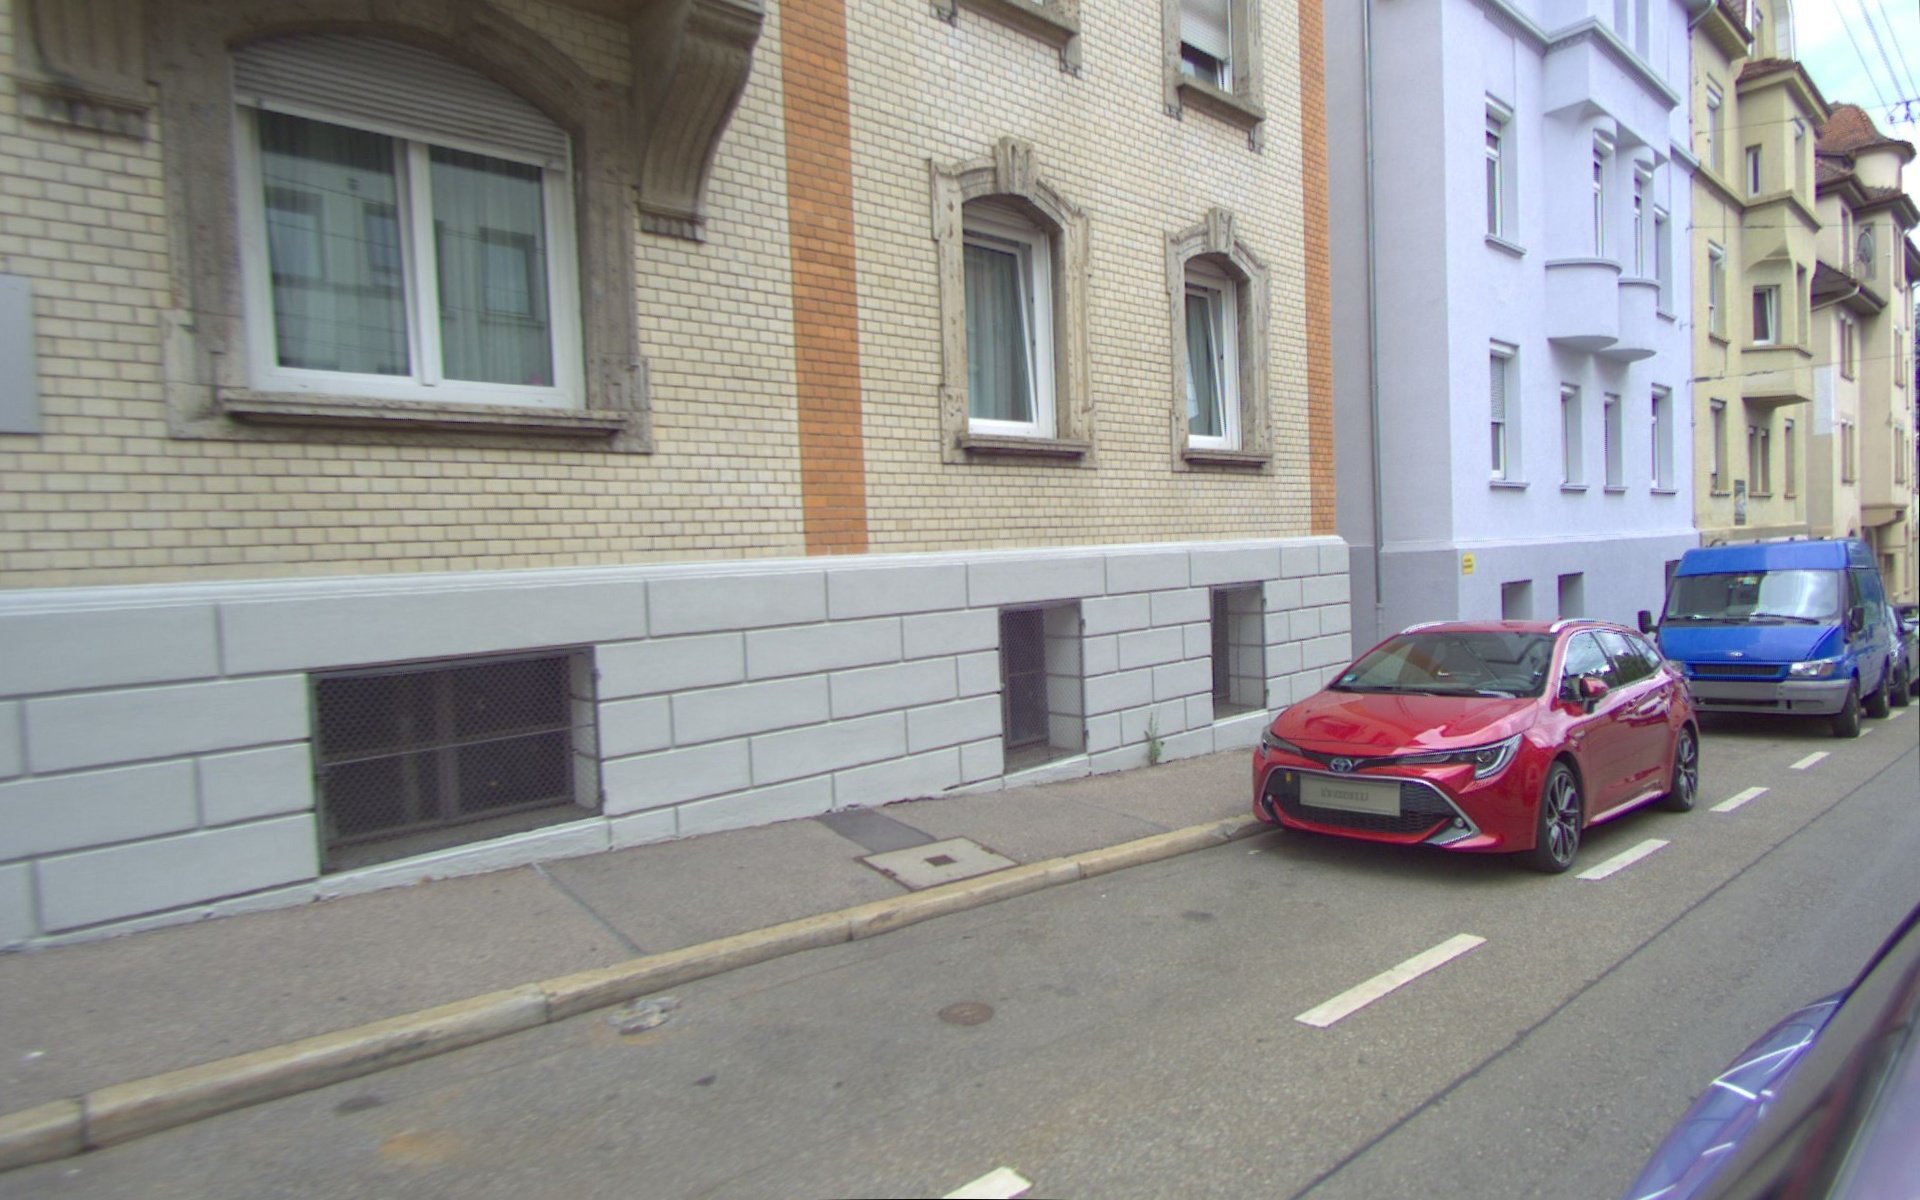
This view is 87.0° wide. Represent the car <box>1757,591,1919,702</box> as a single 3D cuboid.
[{"bbox_3d":[14.446,0.682,16.286,4.120,1.550,1.781,-1,-3,-42],"label":"car"}]

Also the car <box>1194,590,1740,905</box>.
[{"bbox_3d":[3.739,0.720,7.040,4.510,1.494,1.782,-1,-1,-41],"label":"car"}]

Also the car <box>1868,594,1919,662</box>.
[{"bbox_3d":[23.321,0.627,24.190,3.956,1.538,1.830,0,-2,-40],"label":"car"}]

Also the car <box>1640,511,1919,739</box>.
[{"bbox_3d":[10.745,0.221,13.107,4.968,2.406,1.997,-1,1,-41],"label":"car"}]
